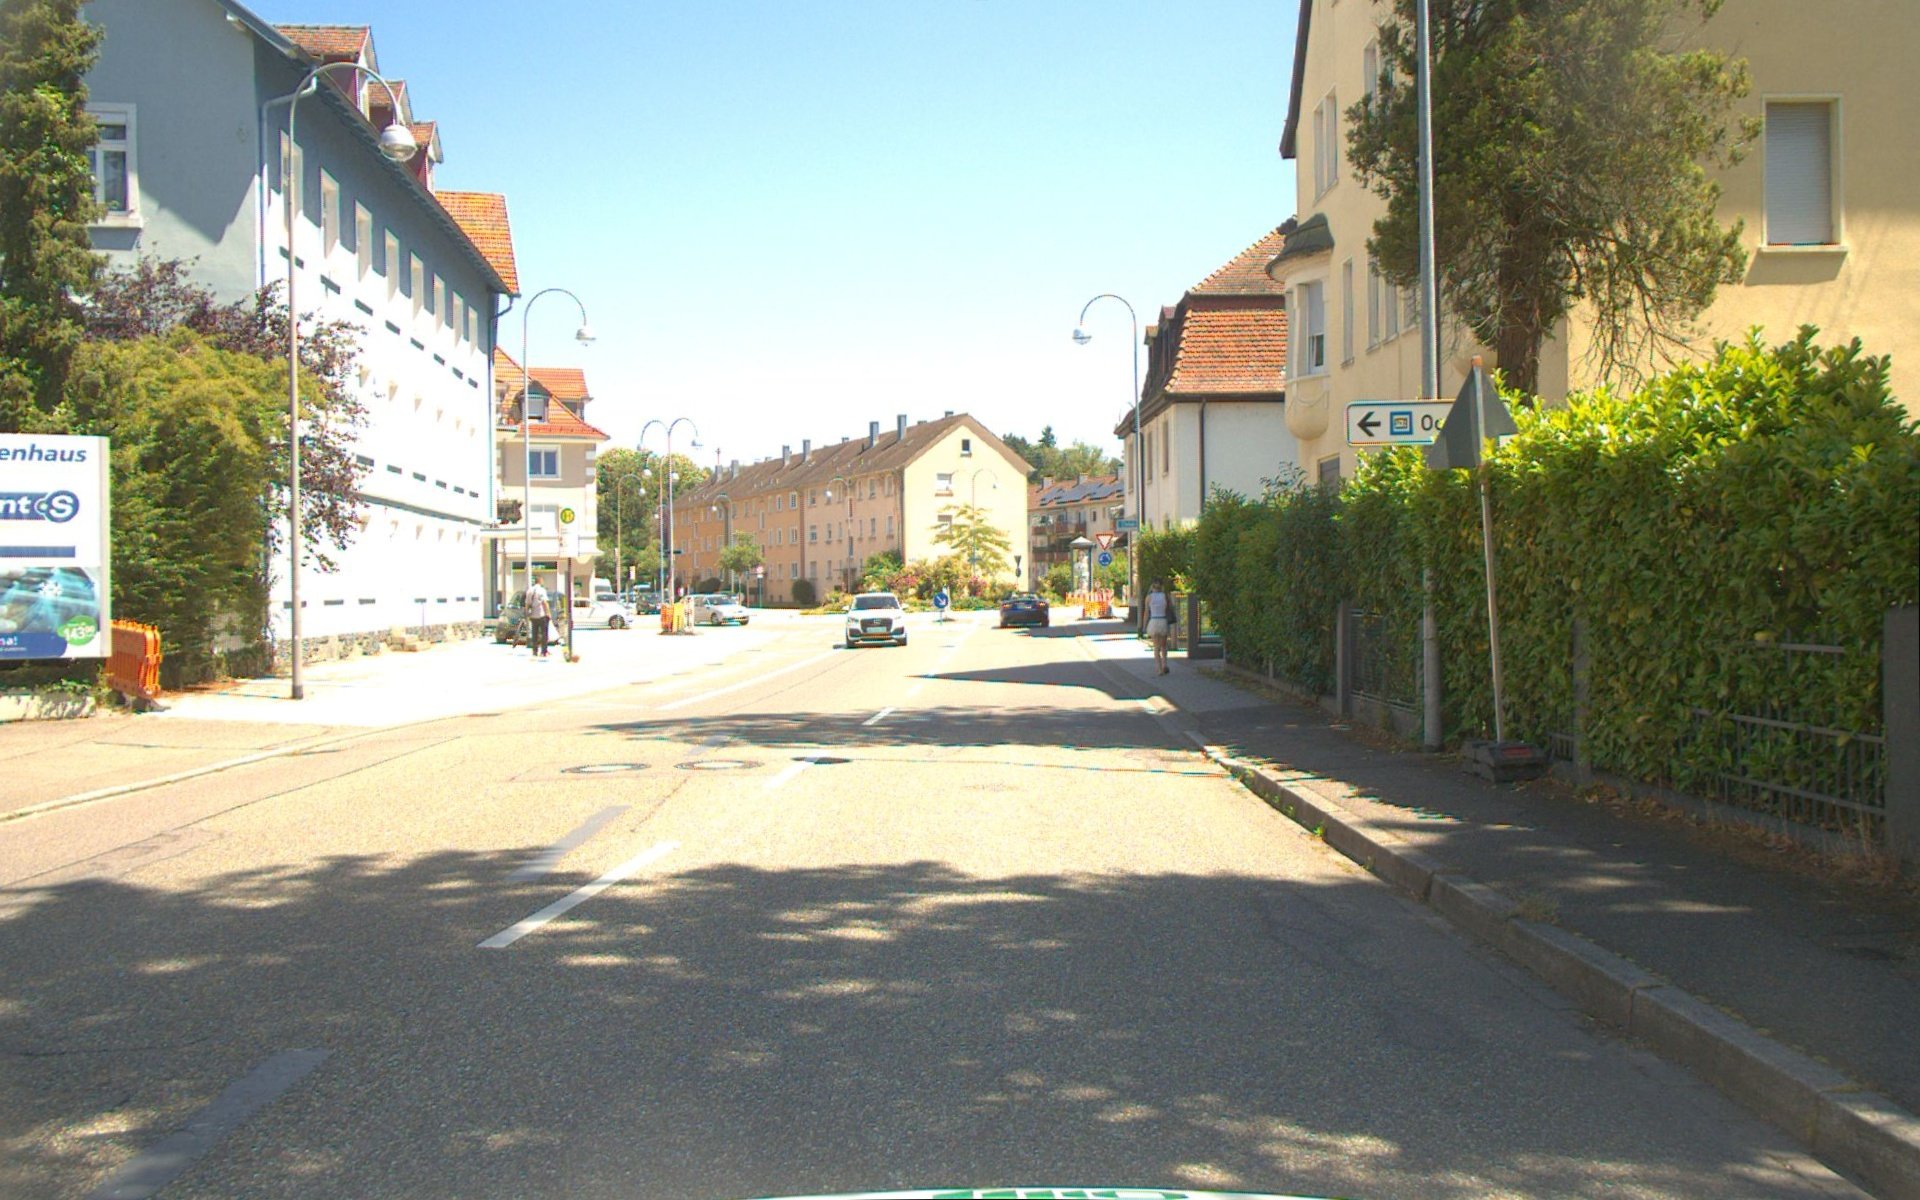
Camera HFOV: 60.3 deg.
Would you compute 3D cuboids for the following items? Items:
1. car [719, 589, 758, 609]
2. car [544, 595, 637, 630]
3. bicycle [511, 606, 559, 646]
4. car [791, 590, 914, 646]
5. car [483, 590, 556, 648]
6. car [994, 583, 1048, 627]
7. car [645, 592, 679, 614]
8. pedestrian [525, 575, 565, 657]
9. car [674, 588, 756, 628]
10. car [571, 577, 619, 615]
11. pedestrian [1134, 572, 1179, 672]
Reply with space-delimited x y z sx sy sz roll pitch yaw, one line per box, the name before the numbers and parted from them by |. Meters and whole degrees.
car | -16.963 -0.053 126.735 1.791 1.526 3.965 1 -1 -27
car | -16.793 0.569 75.354 4.041 1.578 1.783 0 0 -11
bicycle | -11.100 0.682 43.250 0.485 0.994 1.974 3 0 6
car | -3.206 0.561 48.750 1.807 1.557 3.898 0 -2 -37
car | -12.484 0.568 47.076 1.548 1.561 3.768 -1 -1 -8
car | 2.308 0.214 63.302 1.832 1.557 4.505 -1 -1 -1
car | -25.502 0.271 141.498 1.791 1.825 3.965 1 -1 -27
pedestrian | -9.845 0.376 39.269 0.741 1.880 0.771 2 -1 -6
car | -11.427 0.368 76.888 1.773 1.777 4.062 1 0 -44
car | -26.074 -0.264 117.981 2.116 2.577 6.191 1 -1 -24
pedestrian | 3.361 0.368 28.336 0.610 1.672 0.771 -1 0 -2
